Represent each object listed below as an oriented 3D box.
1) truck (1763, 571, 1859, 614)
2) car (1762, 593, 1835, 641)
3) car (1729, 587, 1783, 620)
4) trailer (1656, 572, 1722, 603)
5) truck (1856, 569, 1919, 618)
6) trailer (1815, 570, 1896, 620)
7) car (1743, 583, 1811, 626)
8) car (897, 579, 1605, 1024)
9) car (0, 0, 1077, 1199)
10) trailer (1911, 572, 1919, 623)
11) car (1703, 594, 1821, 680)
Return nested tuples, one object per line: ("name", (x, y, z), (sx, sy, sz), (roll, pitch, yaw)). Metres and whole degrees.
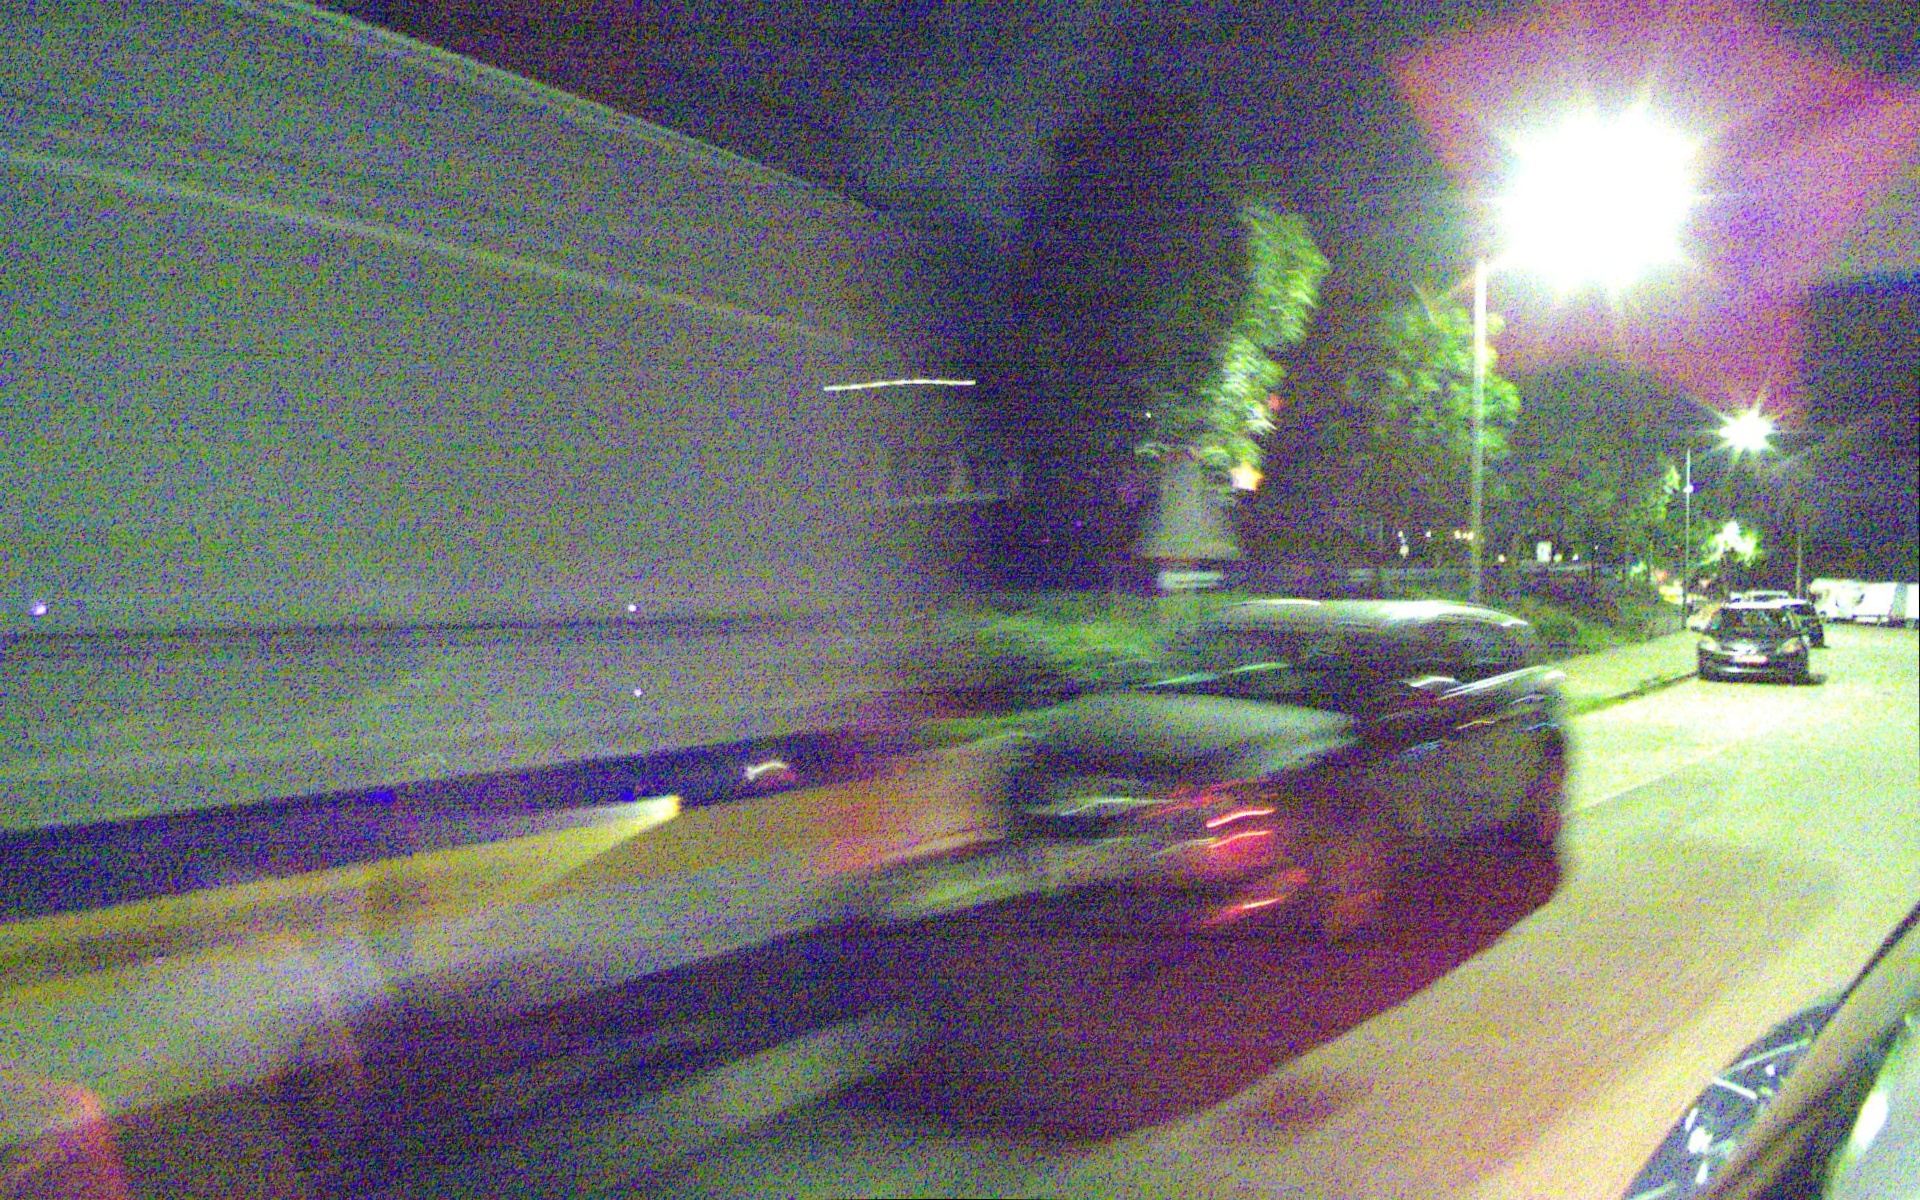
("truck", (65.557, -0.636, 78.237), (2.719, 3.103, 9.272), (1, 1, 21))
("car", (28.155, 0.540, 34.074), (1.604, 1.531, 3.776), (-1, -1, 36))
("car", (44.677, 0.172, 56.867), (1.720, 1.802, 4.272), (0, 1, 29))
("trailer", (50.839, -0.884, 70.719), (1.470, 2.039, 4.976), (1, 1, 7))
("truck", (56.450, -0.384, 60.943), (1.981, 2.819, 7.175), (2, 1, 27))
("trailer", (60.557, -0.349, 68.619), (2.470, 3.111, 7.869), (2, 1, 30))
("car", (40.688, 0.215, 50.512), (1.985, 2.039, 5.293), (0, 0, 32))
("car", (1.951, 0.677, 5.667), (4.562, 1.527, 1.712), (0, 1, -43))
("car", (-2.629, 0.133, 1.510), (5.942, 2.558, 2.025), (0, 0, -39))
("trailer", (53.440, -0.096, 54.763), (1.989, 2.799, 3.953), (4, 2, 32))
("car", (16.017, 0.650, 20.165), (1.708, 1.527, 3.942), (0, 0, 40))
